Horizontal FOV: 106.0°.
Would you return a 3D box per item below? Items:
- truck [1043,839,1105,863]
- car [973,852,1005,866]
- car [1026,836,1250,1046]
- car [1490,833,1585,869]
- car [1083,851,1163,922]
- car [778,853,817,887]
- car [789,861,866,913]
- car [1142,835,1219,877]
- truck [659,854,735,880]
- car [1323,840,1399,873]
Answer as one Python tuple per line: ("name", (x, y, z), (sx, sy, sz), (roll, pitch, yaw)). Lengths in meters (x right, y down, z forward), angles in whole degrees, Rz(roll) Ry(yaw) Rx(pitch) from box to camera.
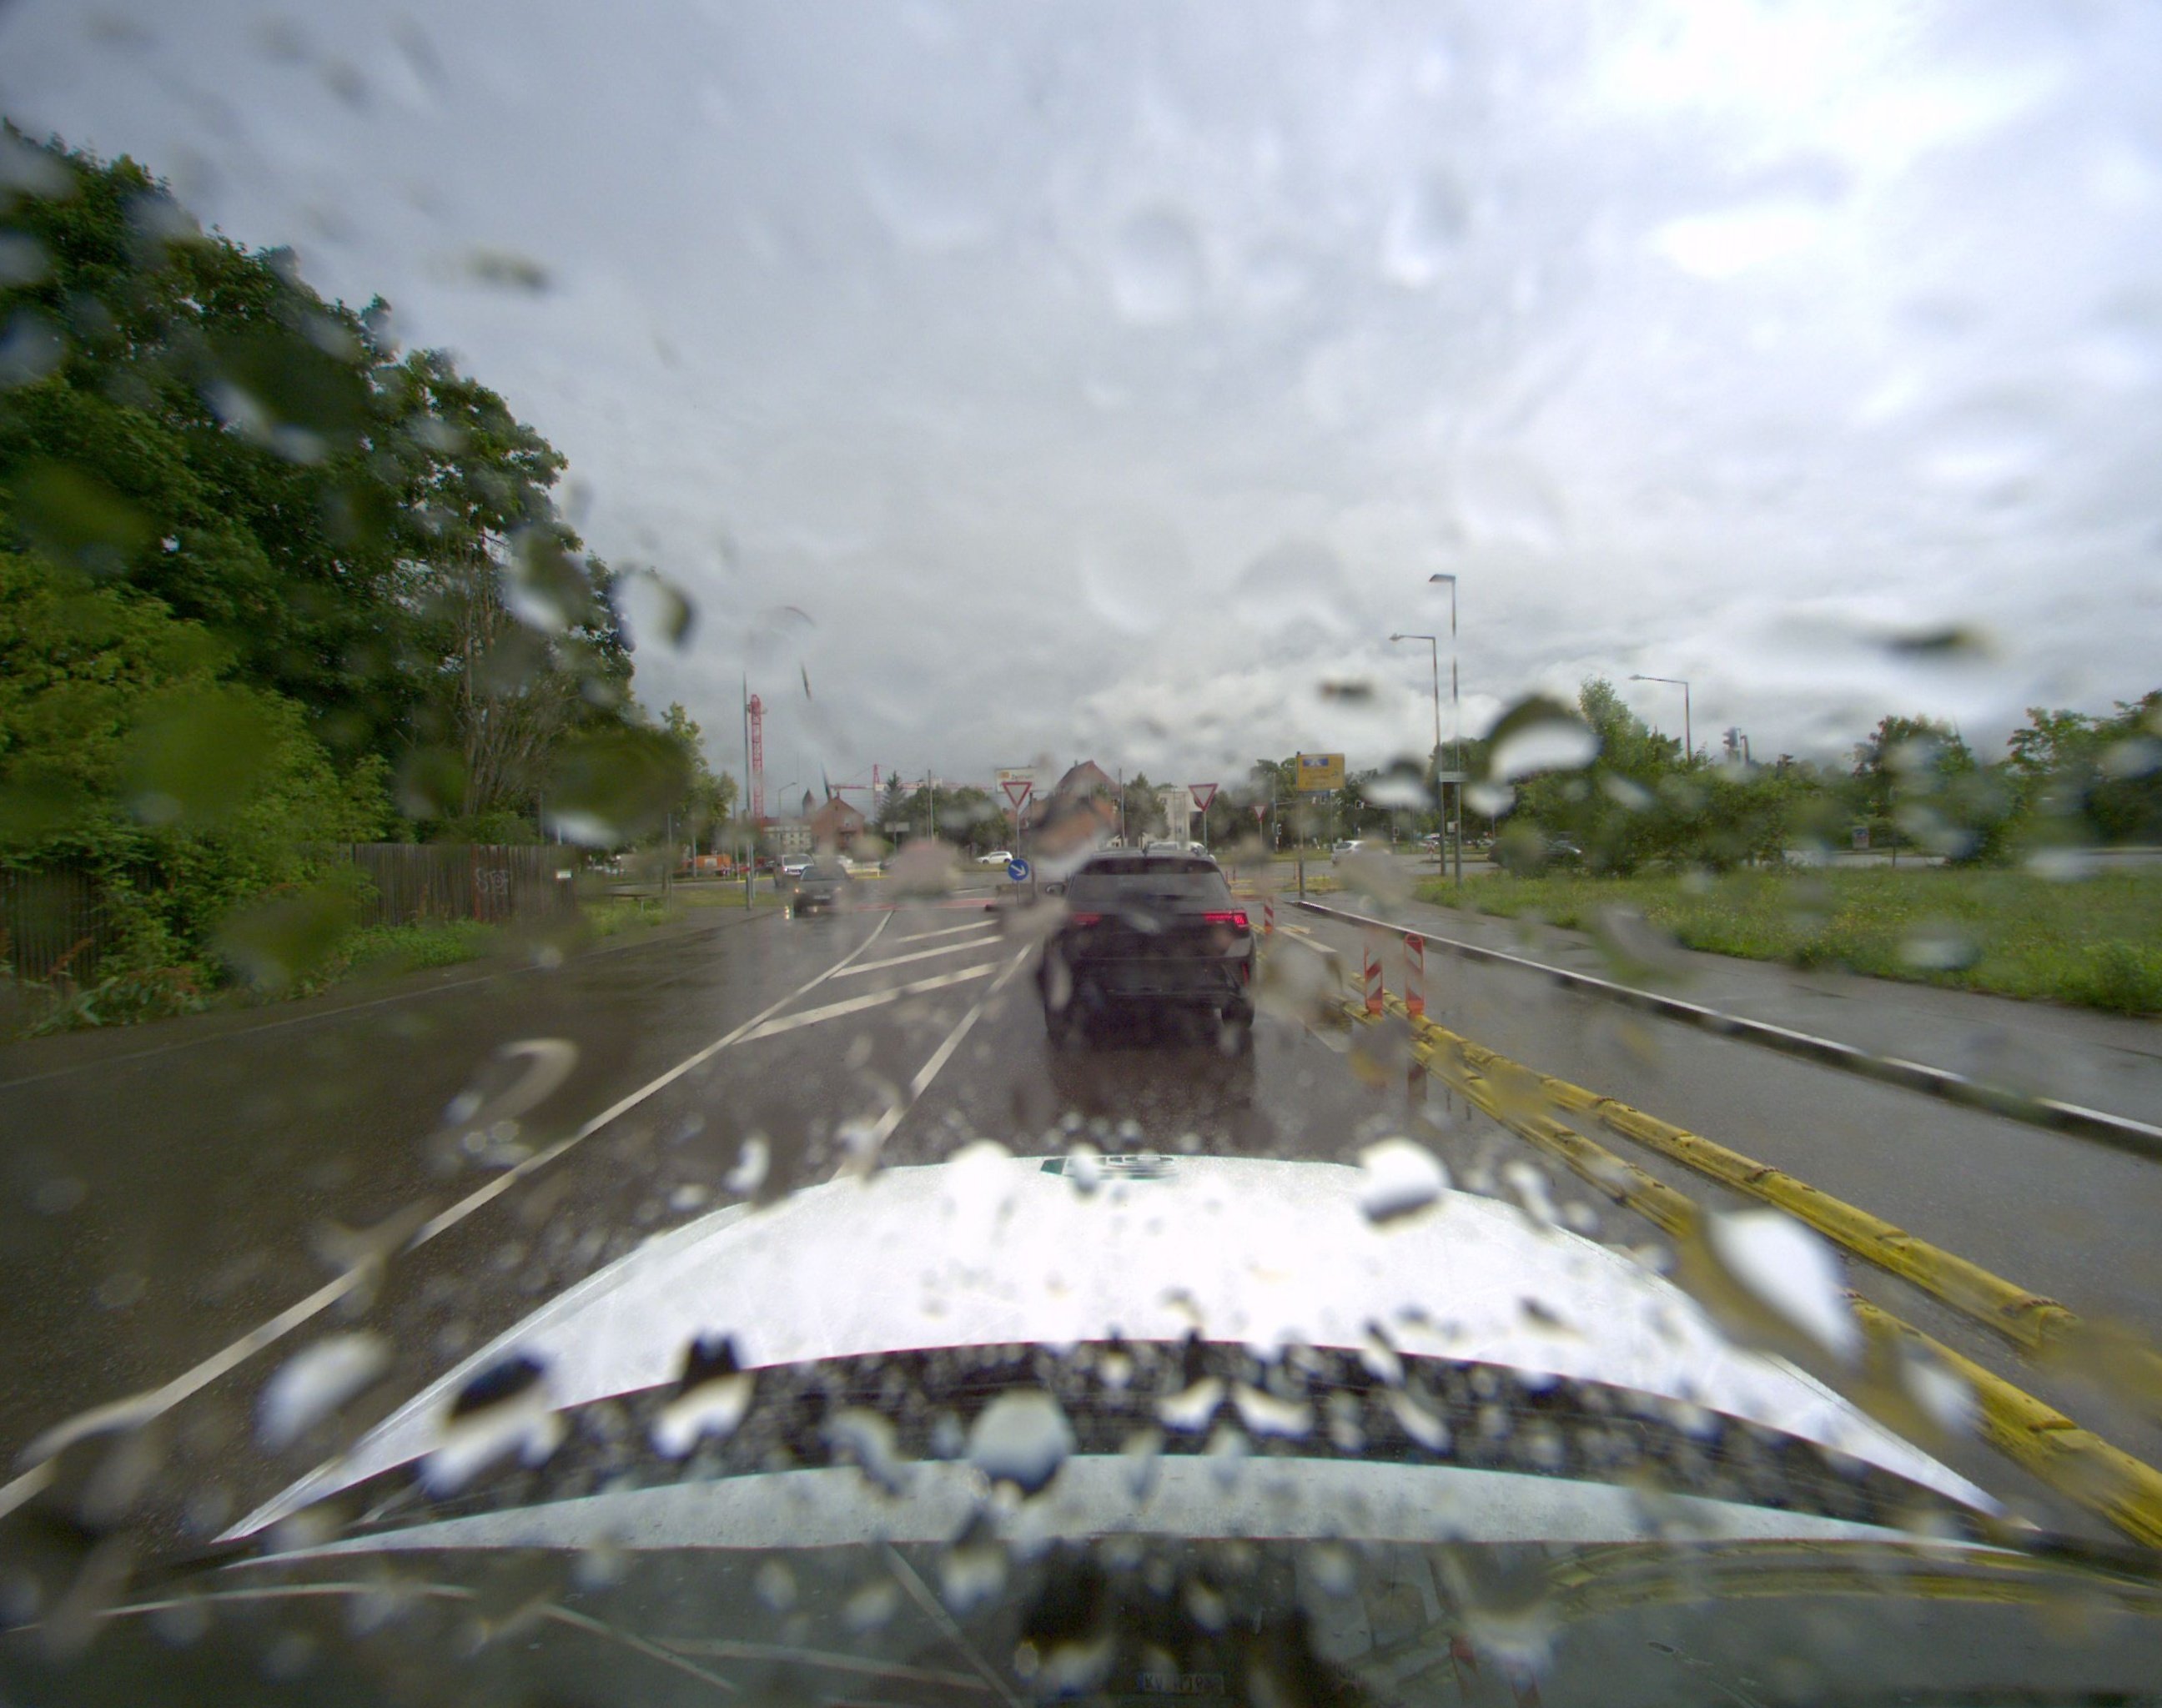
("truck", (-0.861, -0.374, 96.635), (7.063, 2.650, 2.323), (-2, 0, -9))
("car", (-10.976, 0.596, 97.171), (3.513, 1.584, 1.554), (-2, 0, -26))
("car", (0.416, 0.668, 8.104), (1.703, 1.574, 3.681), (-1, 0, -1))
("car", (22.548, -0.157, 40.368), (3.907, 1.644, 1.680), (-1, 0, 21))
("car", (0.936, 0.710, 19.742), (1.730, 1.514, 3.603), (-1, 0, 0))
("car", (-16.959, 0.914, 48.538), (1.896, 1.876, 5.094), (-2, 0, -22))
("car", (-8.287, 1.037, 26.922), (1.875, 1.482, 4.163), (-2, -1, -10))
("car", (4.703, 0.065, 38.075), (1.846, 1.809, 4.432), (-1, 0, 32))
("truck", (-40.571, 1.351, 86.135), (6.697, 2.442, 2.428), (-2, 0, -8))
("car", (16.809, 0.132, 48.857), (4.007, 1.830, 1.983), (-2, 0, -25))
